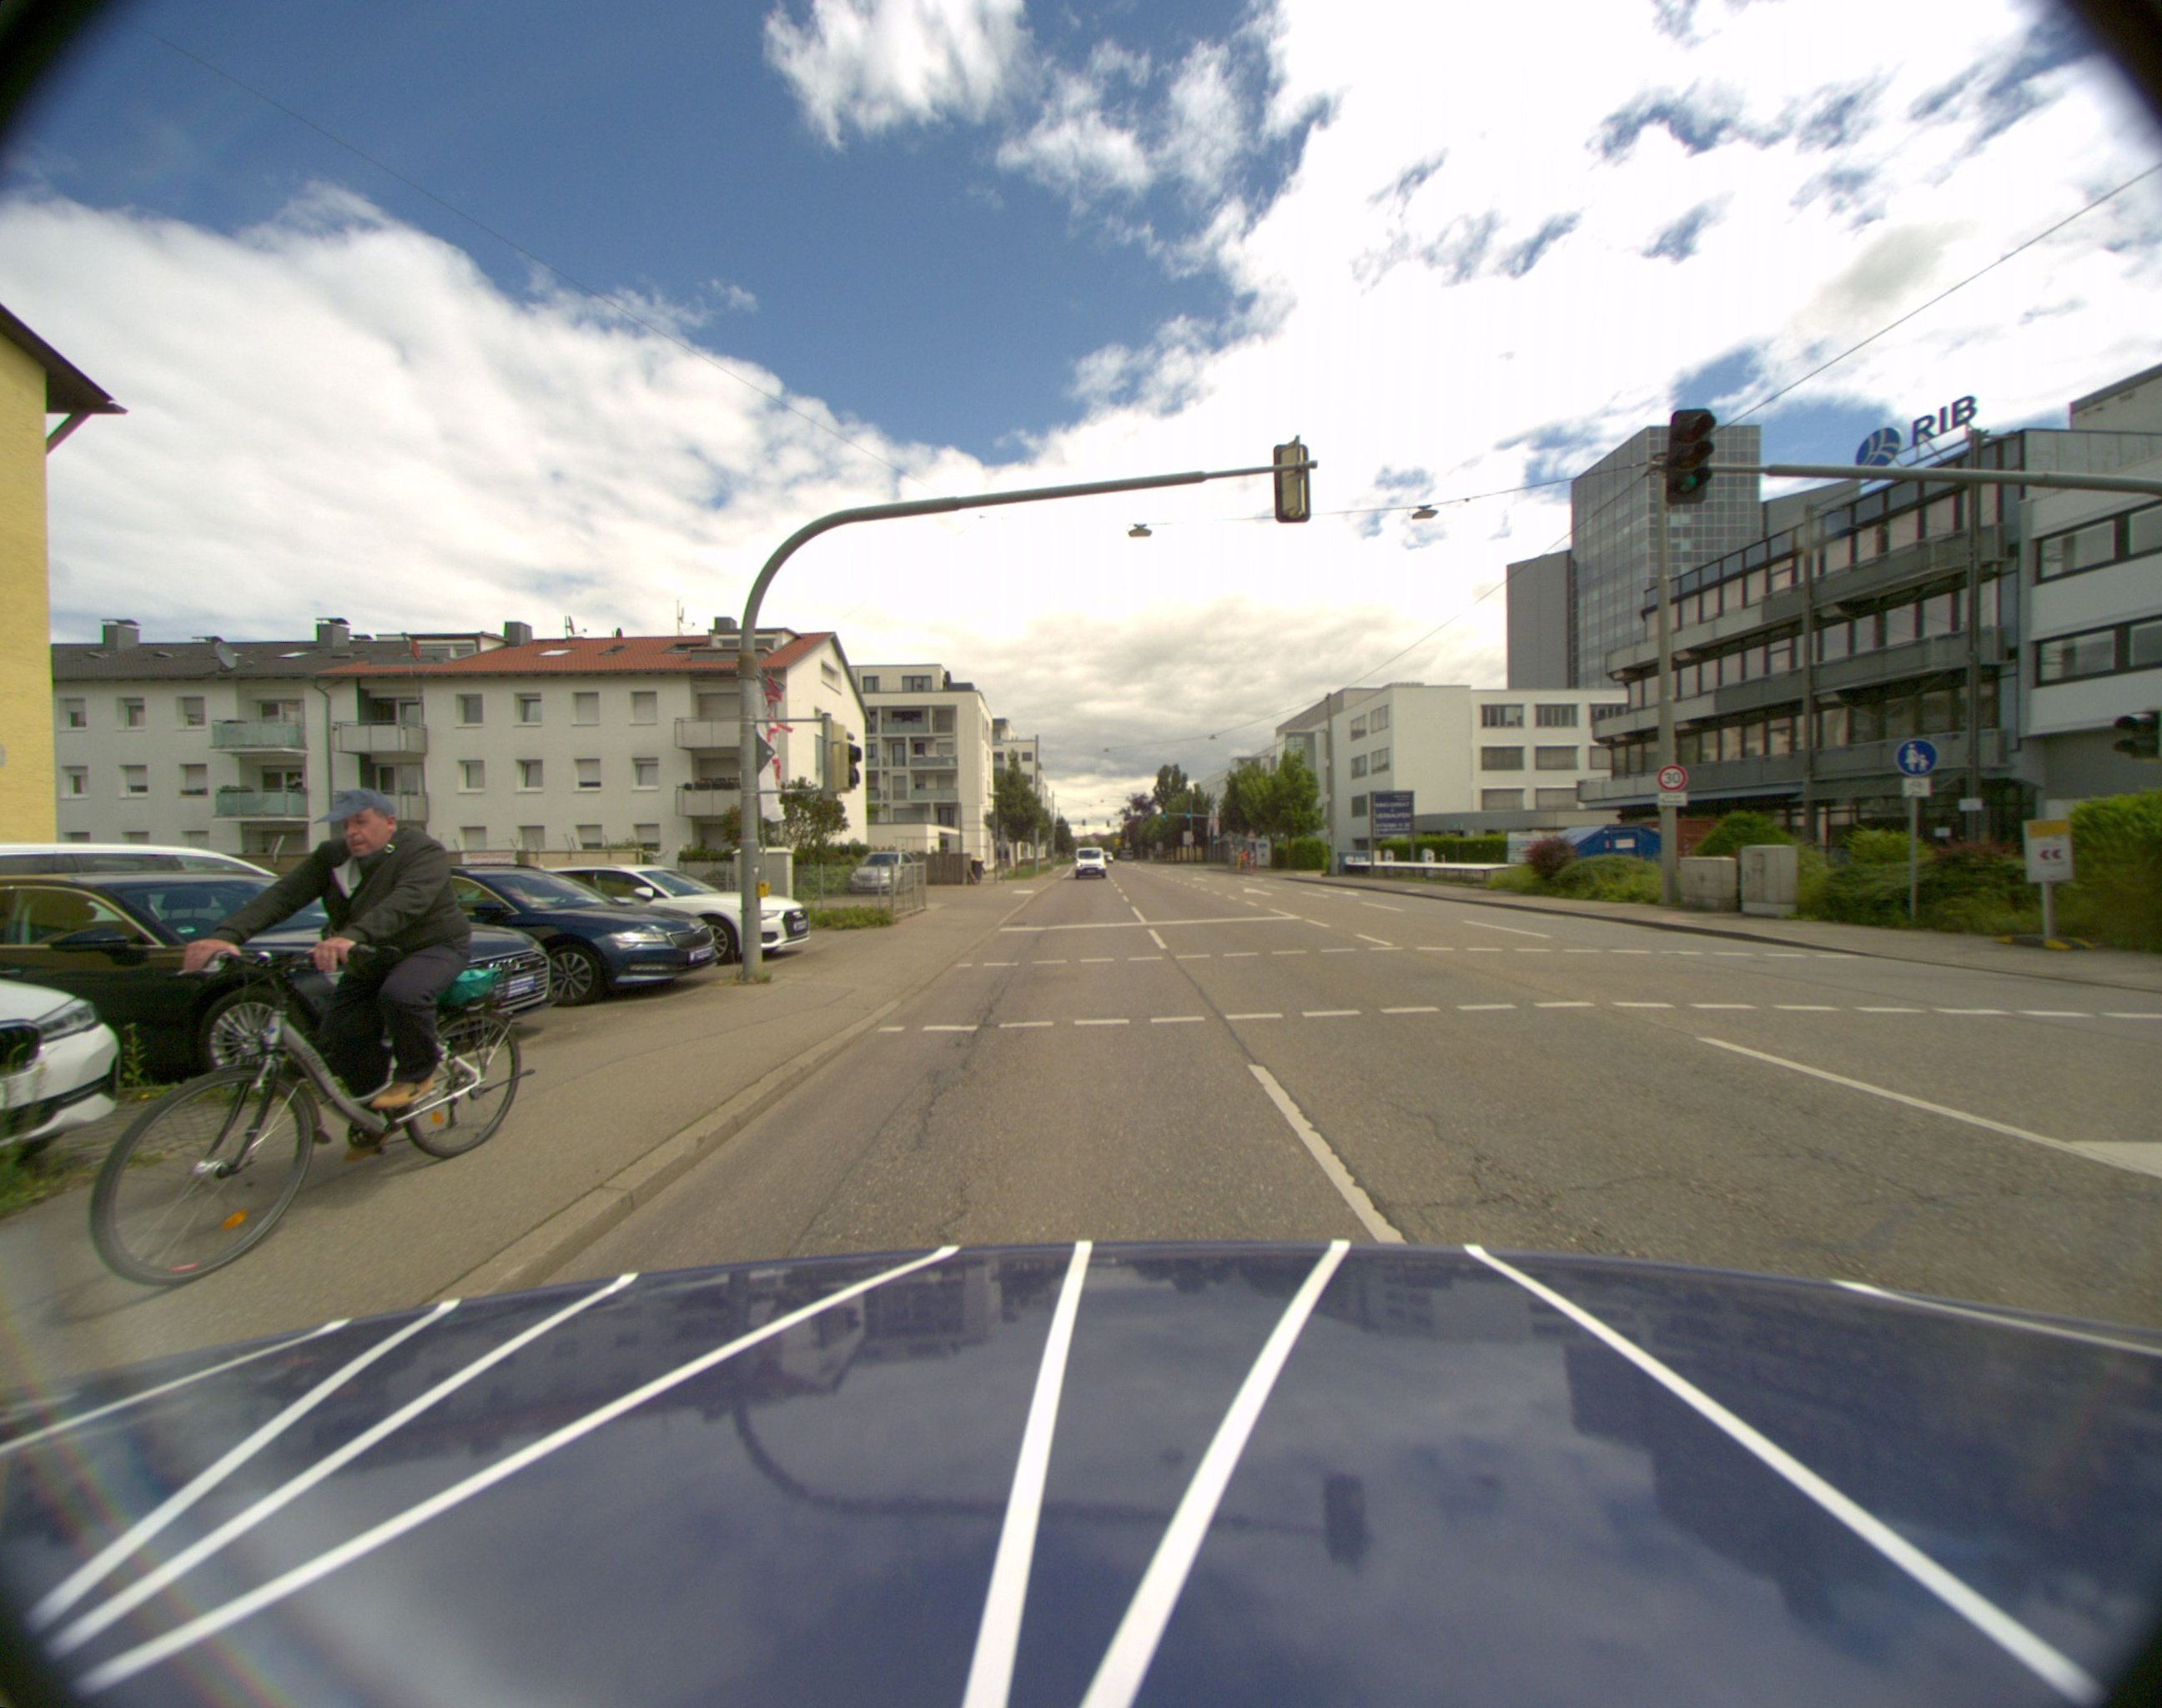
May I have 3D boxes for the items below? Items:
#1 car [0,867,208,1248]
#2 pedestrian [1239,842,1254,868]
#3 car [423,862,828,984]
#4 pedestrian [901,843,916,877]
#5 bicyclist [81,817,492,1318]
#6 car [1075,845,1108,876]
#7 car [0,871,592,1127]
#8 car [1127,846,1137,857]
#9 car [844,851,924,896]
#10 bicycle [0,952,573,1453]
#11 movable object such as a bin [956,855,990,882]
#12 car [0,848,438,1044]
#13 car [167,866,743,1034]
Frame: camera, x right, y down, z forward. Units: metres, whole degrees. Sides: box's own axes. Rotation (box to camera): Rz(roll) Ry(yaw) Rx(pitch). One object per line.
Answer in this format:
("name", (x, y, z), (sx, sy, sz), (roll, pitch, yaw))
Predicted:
("car", (-6.660, 0.913, 2.687), (4.812, 1.472, 2.032), (-3, 1, 2))
("pedestrian", (13.047, 0.047, 59.962), (0.724, 2.002, 0.812), (-1, 2, 43))
("car", (-6.470, 0.936, 11.260), (4.708, 1.484, 2.045), (-2, 0, 0))
("pedestrian", (-9.315, 0.323, 41.002), (0.507, 1.755, 0.501), (-2, 2, 17))
("bicyclist", (-3.026, 0.720, 3.005), (0.639, 1.666, 0.890), (3, 1, 1))
("car", (0.642, 0.408, 51.082), (1.999, 1.905, 3.998), (-2, 1, -2))
("car", (-6.450, 0.941, 5.551), (4.380, 1.395, 1.988), (-2, 0, -1))
("car", (11.685, -0.599, 174.236), (2.148, 2.457, 6.073), (1, 1, 1))
("car", (-7.276, 0.663, 28.547), (1.880, 1.536, 4.521), (0, 0, -1))
("bicycle", (-3.036, 1.067, 3.028), (0.639, 1.057, 1.977), (3, 0, 1))
("movable object such as a bin", (-5.724, 0.768, 40.382), (1.320, 1.353, 1.252), (0, 2, 17))
("car", (-10.988, 0.872, 8.967), (1.979, 1.811, 5.033), (0, 1, 10))
("car", (-6.576, 0.958, 8.455), (4.671, 1.485, 2.034), (-1, 0, 0))
